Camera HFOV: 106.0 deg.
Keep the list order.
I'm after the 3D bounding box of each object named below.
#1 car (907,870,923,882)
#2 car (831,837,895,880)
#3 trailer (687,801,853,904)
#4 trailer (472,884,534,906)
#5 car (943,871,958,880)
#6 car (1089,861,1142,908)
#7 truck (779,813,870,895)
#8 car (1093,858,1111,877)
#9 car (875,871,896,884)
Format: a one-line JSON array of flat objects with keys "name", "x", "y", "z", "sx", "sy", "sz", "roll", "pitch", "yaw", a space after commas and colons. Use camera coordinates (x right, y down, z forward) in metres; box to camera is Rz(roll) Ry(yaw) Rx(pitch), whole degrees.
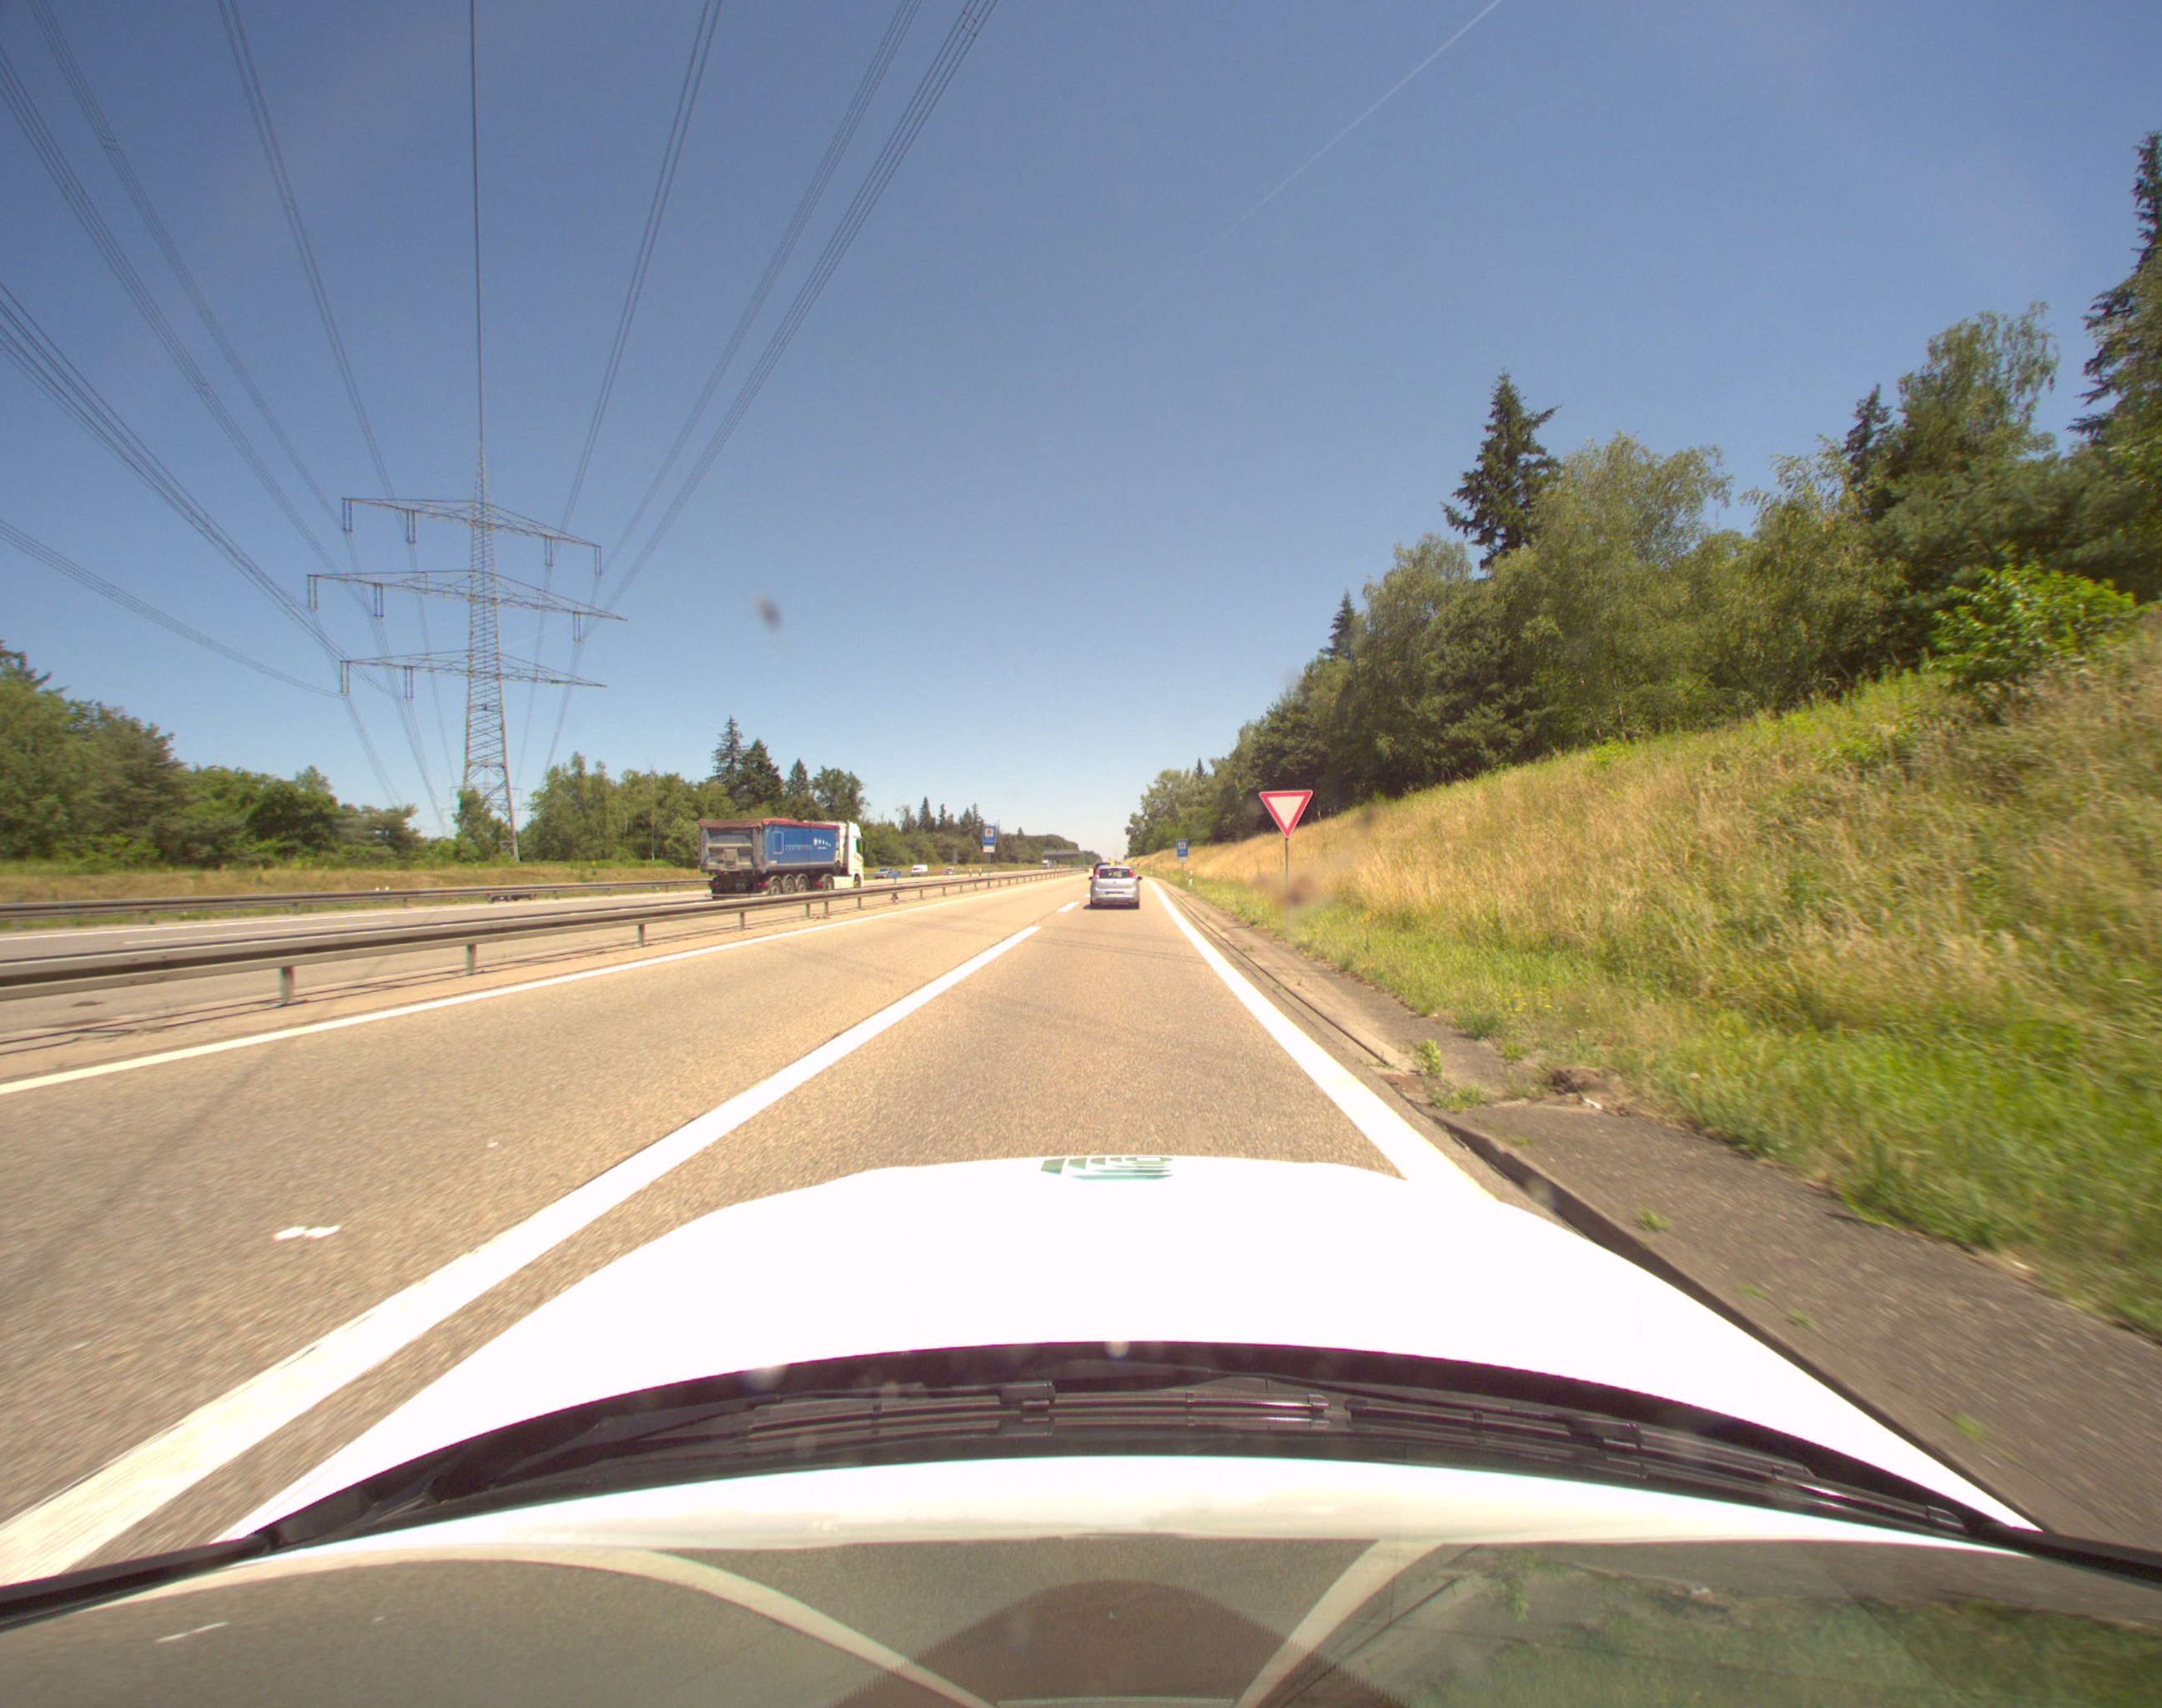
[{"name": "car", "x": -37.091, "y": 4.931, "z": 182.117, "sx": 1.985, "sy": 2.544, "sz": 6.917, "roll": -2, "pitch": -2, "yaw": 3}, {"name": "car", "x": -15.521, "y": 0.433, "z": 58.411, "sx": 2.228, "sy": 2.833, "sz": 7.060, "roll": -1, "pitch": -2, "yaw": 4}, {"name": "trailer", "x": -13.032, "y": -0.014, "z": 35.383, "sx": 2.759, "sy": 3.807, "sz": 9.895, "roll": -1, "pitch": -1, "yaw": 4}, {"name": "trailer", "x": -49.776, "y": 3.504, "z": 70.220, "sx": 1.985, "sy": 1.669, "sz": 4.462, "roll": -1, "pitch": -1, "yaw": 3}, {"name": "car", "x": -25.729, "y": 4.299, "z": 160.585, "sx": 1.985, "sy": 1.783, "sz": 4.815, "roll": -1, "pitch": -2, "yaw": 3}, {"name": "car", "x": 1.193, "y": 1.015, "z": 28.137, "sx": 1.699, "sy": 1.482, "sz": 3.399, "roll": 1, "pitch": -1, "yaw": 3}, {"name": "truck", "x": -12.671, "y": 0.025, "z": 40.555, "sx": 2.744, "sy": 3.807, "sz": 4.626, "roll": -1, "pitch": -1, "yaw": 4}, {"name": "car", "x": 1.994, "y": 1.337, "z": 77.446, "sx": 1.700, "sy": 1.676, "sz": 3.397, "roll": -1, "pitch": -2, "yaw": 1}, {"name": "car", "x": -28.114, "y": 3.402, "z": 117.244, "sx": 1.986, "sy": 1.783, "sz": 4.001, "roll": -1, "pitch": -2, "yaw": 2}]
